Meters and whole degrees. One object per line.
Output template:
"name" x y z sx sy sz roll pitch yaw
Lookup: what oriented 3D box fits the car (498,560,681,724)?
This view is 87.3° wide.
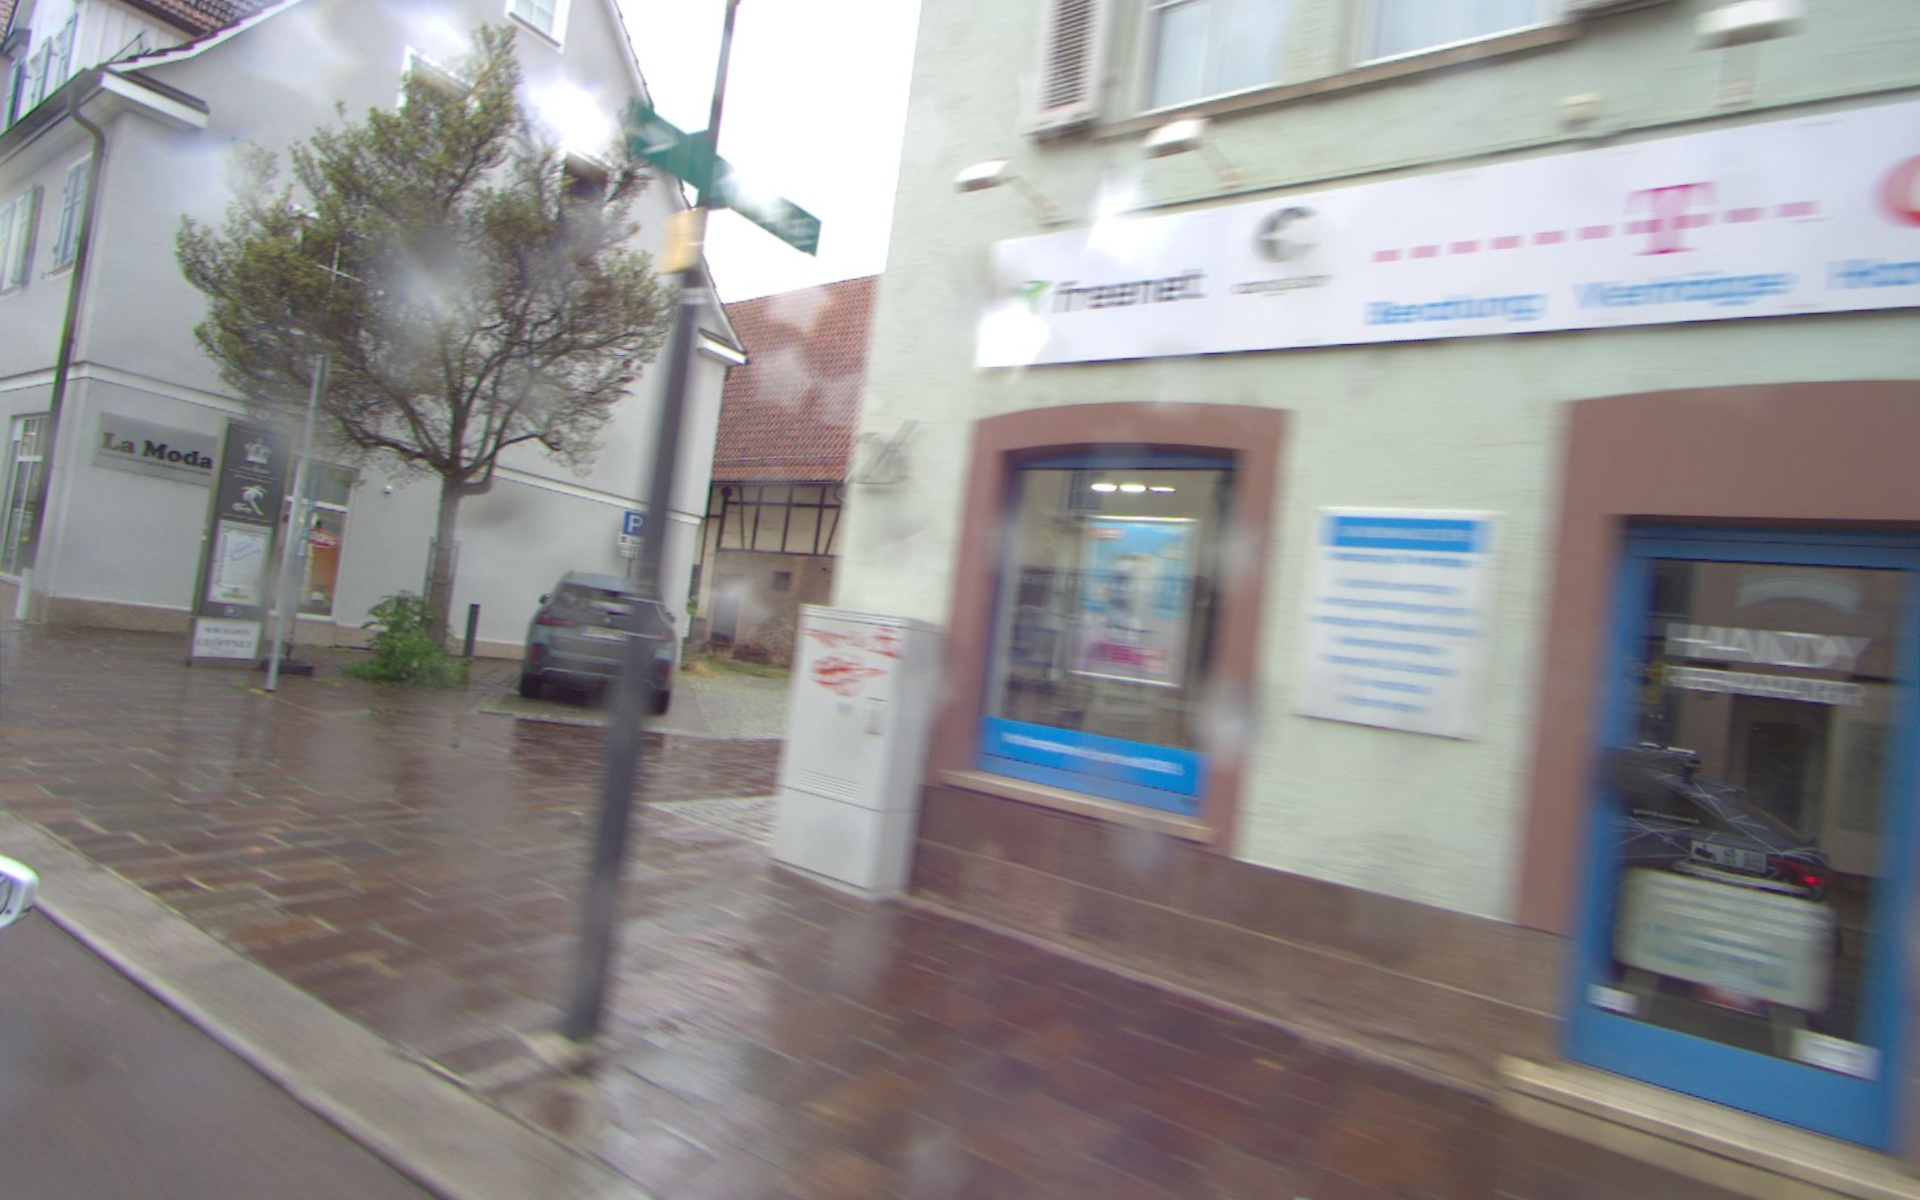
"car" -4.891 0.449 13.627 1.798 1.675 4.342 8 -1 -18
